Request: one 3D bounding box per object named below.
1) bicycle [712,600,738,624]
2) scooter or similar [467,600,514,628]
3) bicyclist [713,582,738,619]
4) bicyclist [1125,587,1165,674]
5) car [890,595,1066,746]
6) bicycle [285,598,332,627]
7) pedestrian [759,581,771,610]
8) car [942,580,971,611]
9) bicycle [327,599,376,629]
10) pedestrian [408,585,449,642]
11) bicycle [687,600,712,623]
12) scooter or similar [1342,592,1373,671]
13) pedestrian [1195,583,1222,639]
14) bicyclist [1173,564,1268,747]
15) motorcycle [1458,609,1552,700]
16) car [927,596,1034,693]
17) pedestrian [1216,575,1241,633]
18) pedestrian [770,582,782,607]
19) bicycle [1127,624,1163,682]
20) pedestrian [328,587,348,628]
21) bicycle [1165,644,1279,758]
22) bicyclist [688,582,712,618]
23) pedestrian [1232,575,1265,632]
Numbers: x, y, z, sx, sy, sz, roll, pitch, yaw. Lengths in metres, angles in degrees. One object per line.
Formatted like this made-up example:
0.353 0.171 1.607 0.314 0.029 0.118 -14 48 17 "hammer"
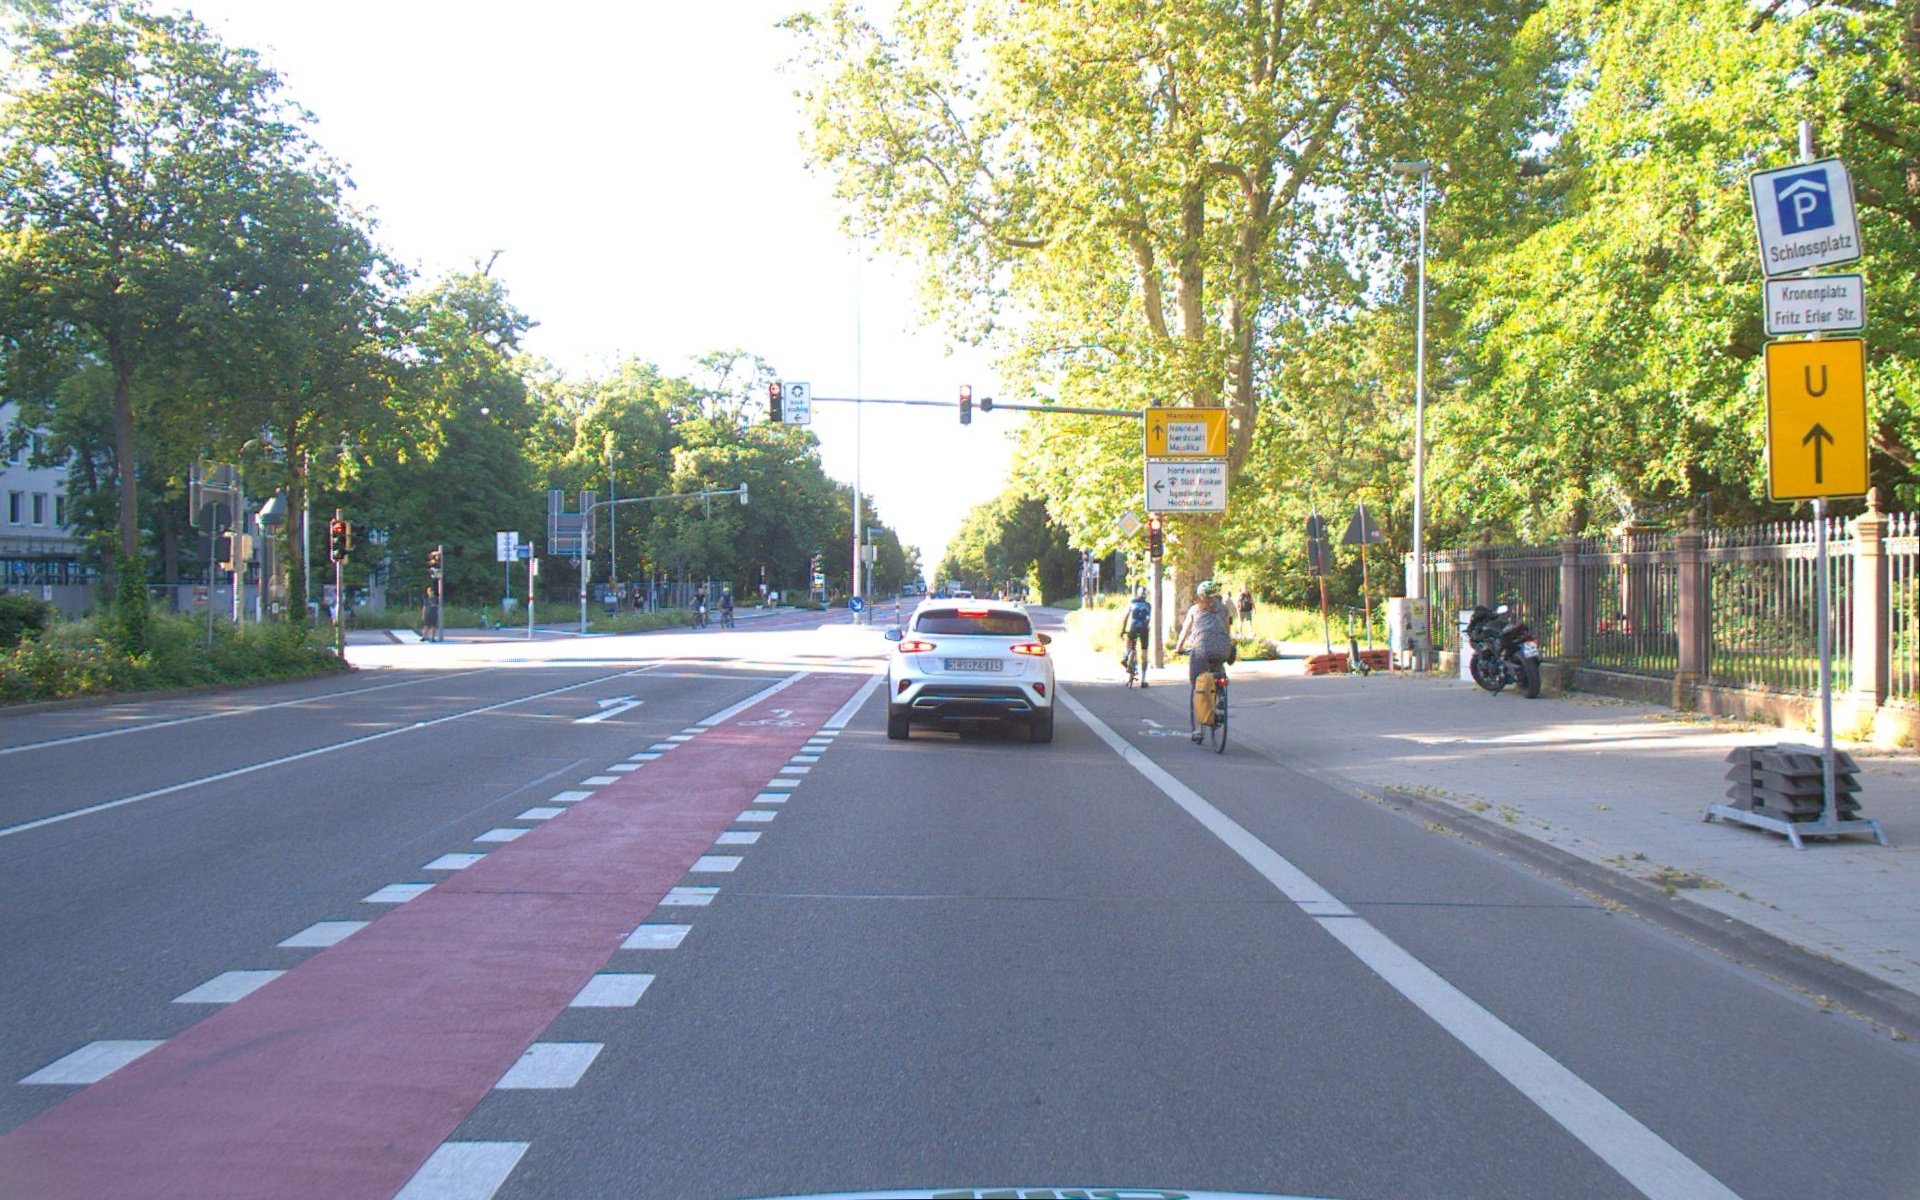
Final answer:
-10.454 0.529 73.597 0.649 1.006 2.505 -1 0 3 "bicycle"
-19.620 0.591 69.186 0.698 1.144 1.915 1 0 33 "scooter or similar"
-10.453 0.022 73.785 0.857 1.636 1.189 -1 0 2 "bicyclist"
3.288 0.531 29.417 0.543 1.504 0.716 -3 0 -1 "bicyclist"
0.157 0.718 18.823 1.784 1.506 3.935 1 0 -1 "car"
-26.490 0.503 67.258 1.822 1.168 0.443 1 -1 15 "bicycle"
-13.891 -0.301 118.012 0.627 2.049 0.754 1 -1 11 "pedestrian"
-0.206 -0.326 113.348 1.952 2.049 4.000 -1 0 0 "car"
-24.669 0.566 67.083 1.826 1.168 0.290 1 -1 -7 "bicycle"
-19.338 0.489 60.213 0.974 2.049 1.192 1 0 6 "pedestrian"
-11.987 0.526 76.188 0.567 1.006 2.716 -1 0 4 "bicycle"
6.903 0.535 28.724 0.223 1.350 1.172 -1 0 -1 "scooter or similar"
7.798 0.347 51.886 0.676 1.729 0.643 -1 0 -6 "pedestrian"
2.717 0.558 17.362 0.737 1.827 1.165 2 0 -1 "bicyclist"
7.308 0.701 22.270 0.495 1.151 2.170 -2 0 -1 "motorcycle"
0.288 0.701 28.094 1.693 1.509 3.516 -1 0 -1 "car"
8.478 0.124 52.201 0.604 1.802 0.646 -1 0 -7 "pedestrian"
-13.358 -0.411 119.986 0.768 1.817 0.751 1 -1 1 "pedestrian"
3.279 0.933 29.395 0.393 0.973 1.551 -3 0 -1 "bicycle"
-24.958 0.296 66.379 0.617 1.608 0.445 1 -1 -9 "pedestrian"
2.703 1.016 17.360 0.742 1.031 2.569 1 0 -1 "bicycle"
-11.987 0.018 76.273 0.856 1.634 0.978 -1 0 3 "bicyclist"
9.175 0.106 52.600 0.802 1.802 0.831 -1 0 -7 "pedestrian"
